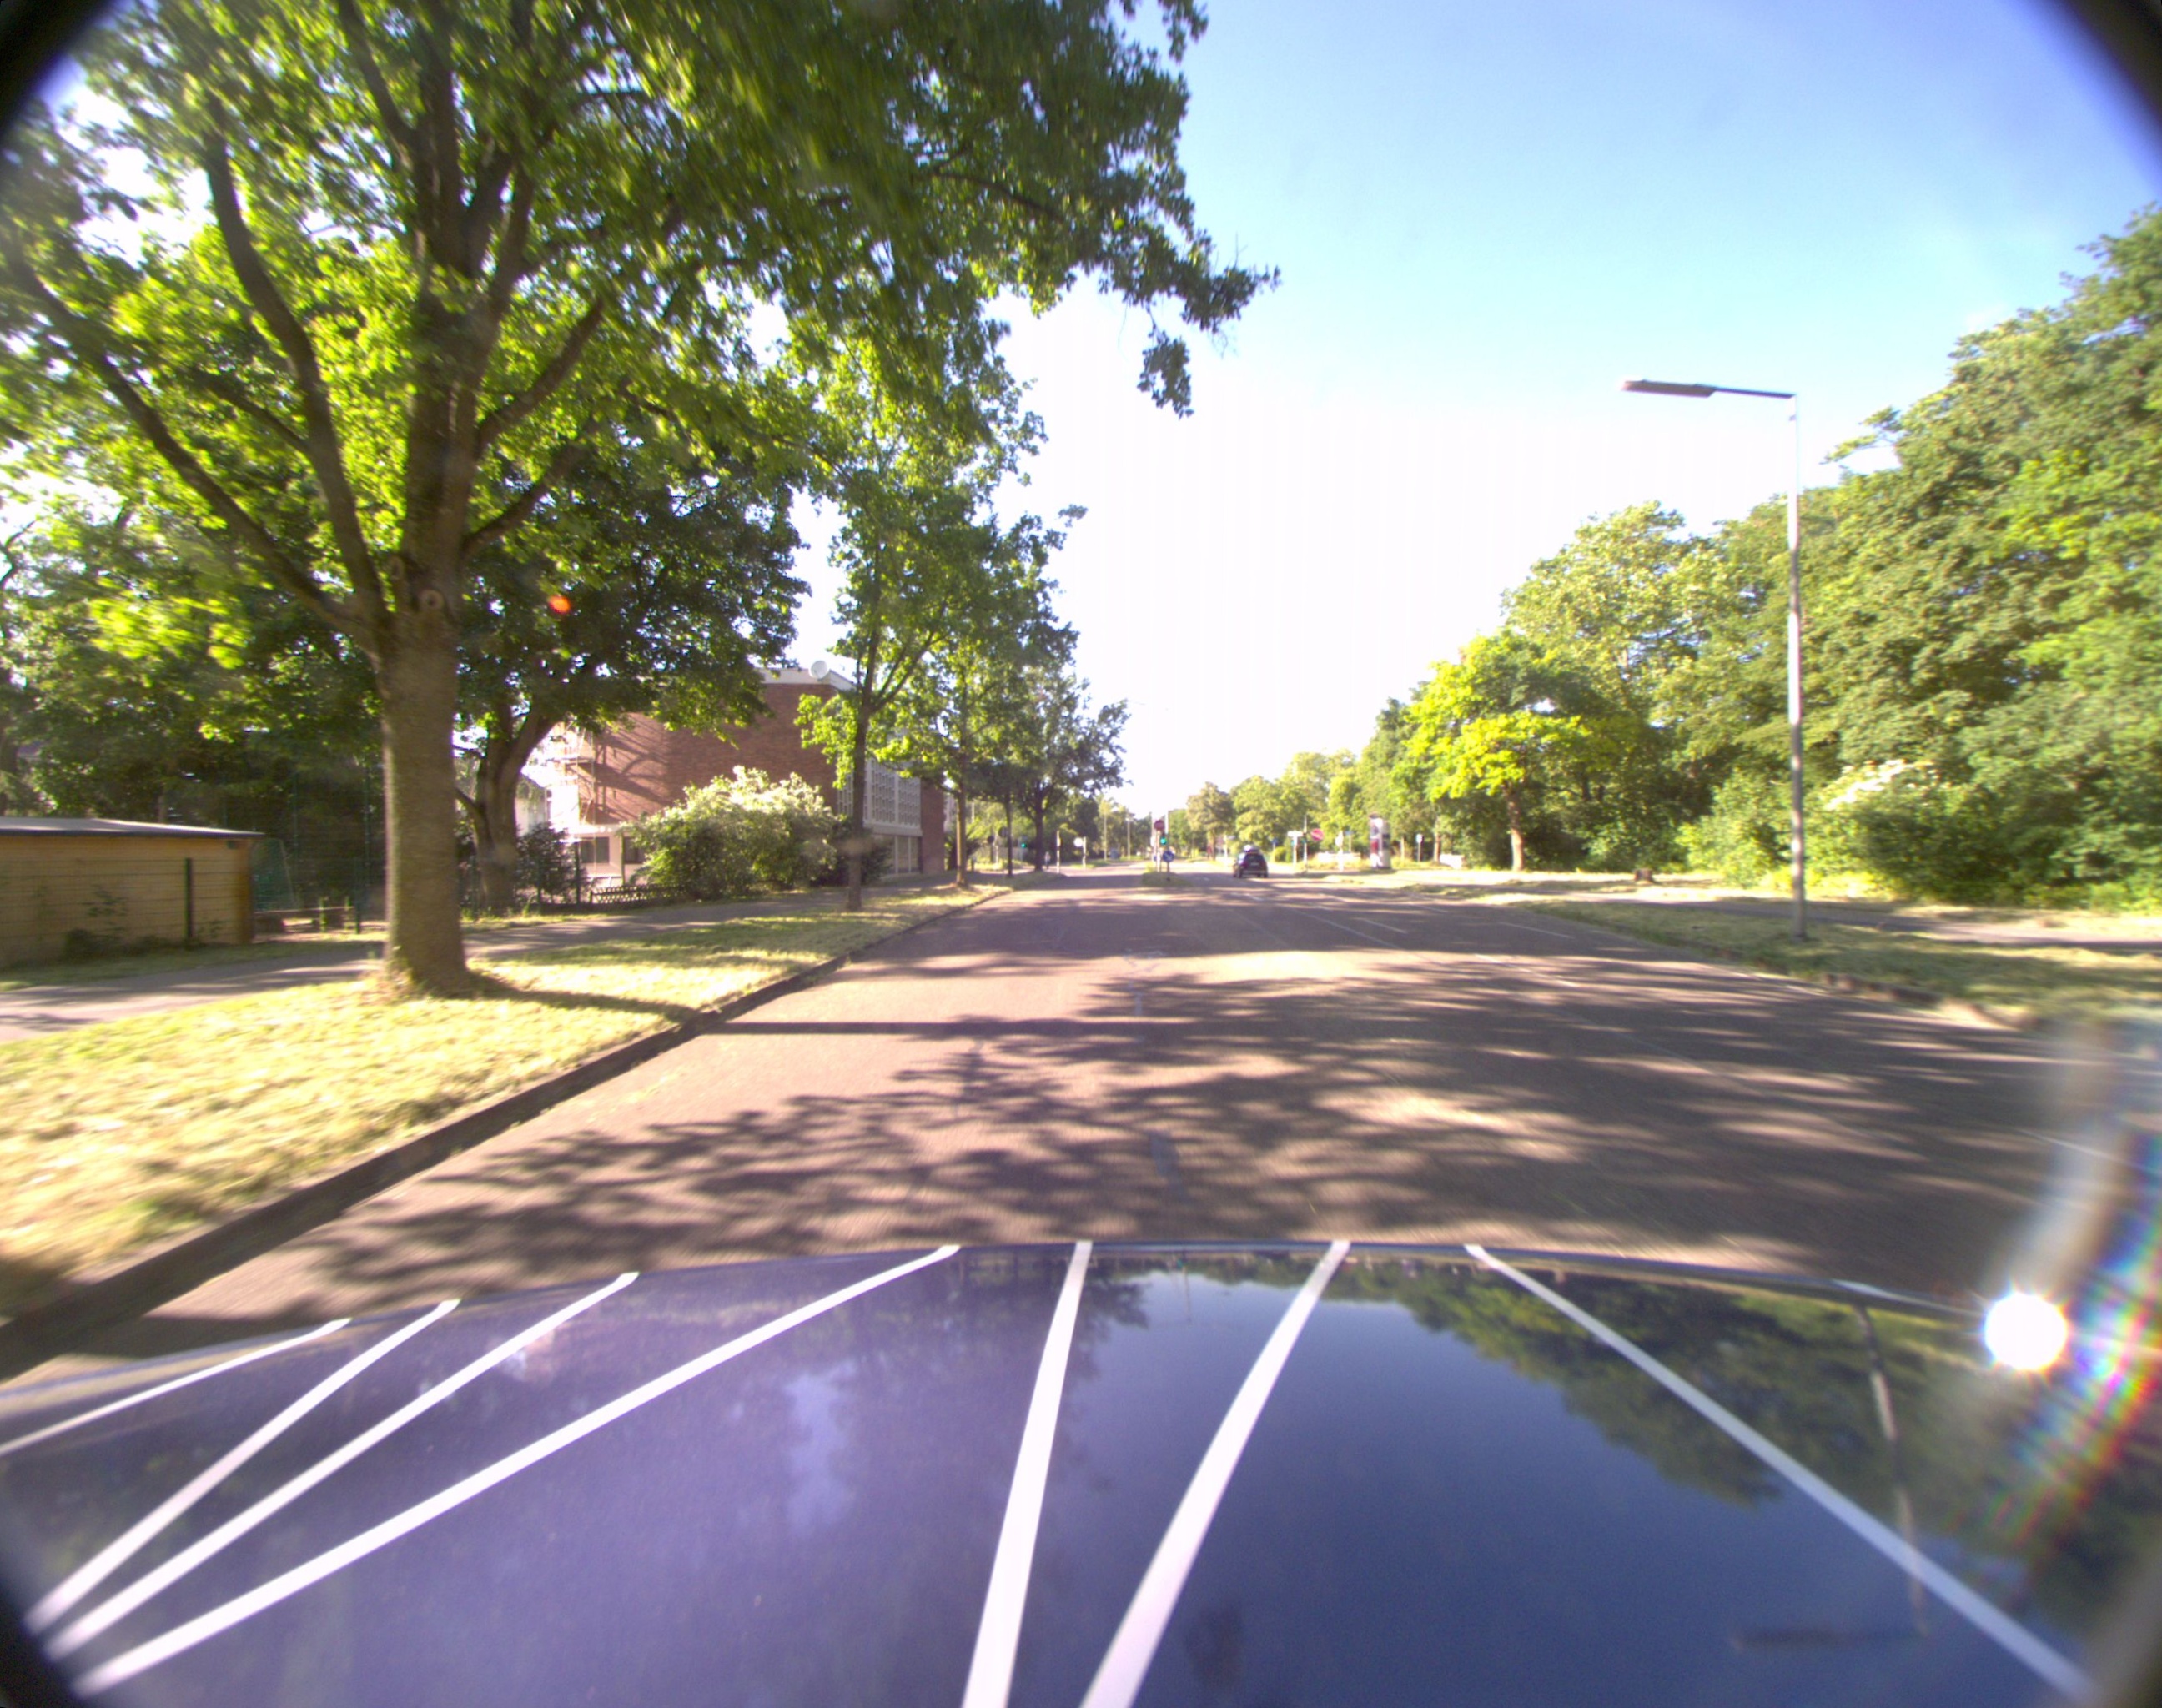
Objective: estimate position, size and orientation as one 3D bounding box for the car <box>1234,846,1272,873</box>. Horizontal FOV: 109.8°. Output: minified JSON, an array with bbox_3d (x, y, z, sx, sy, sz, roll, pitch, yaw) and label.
[{"bbox_3d":[11.176,0.322,49.728,1.843,1.698,4.506,0,1,5],"label":"car"}]
